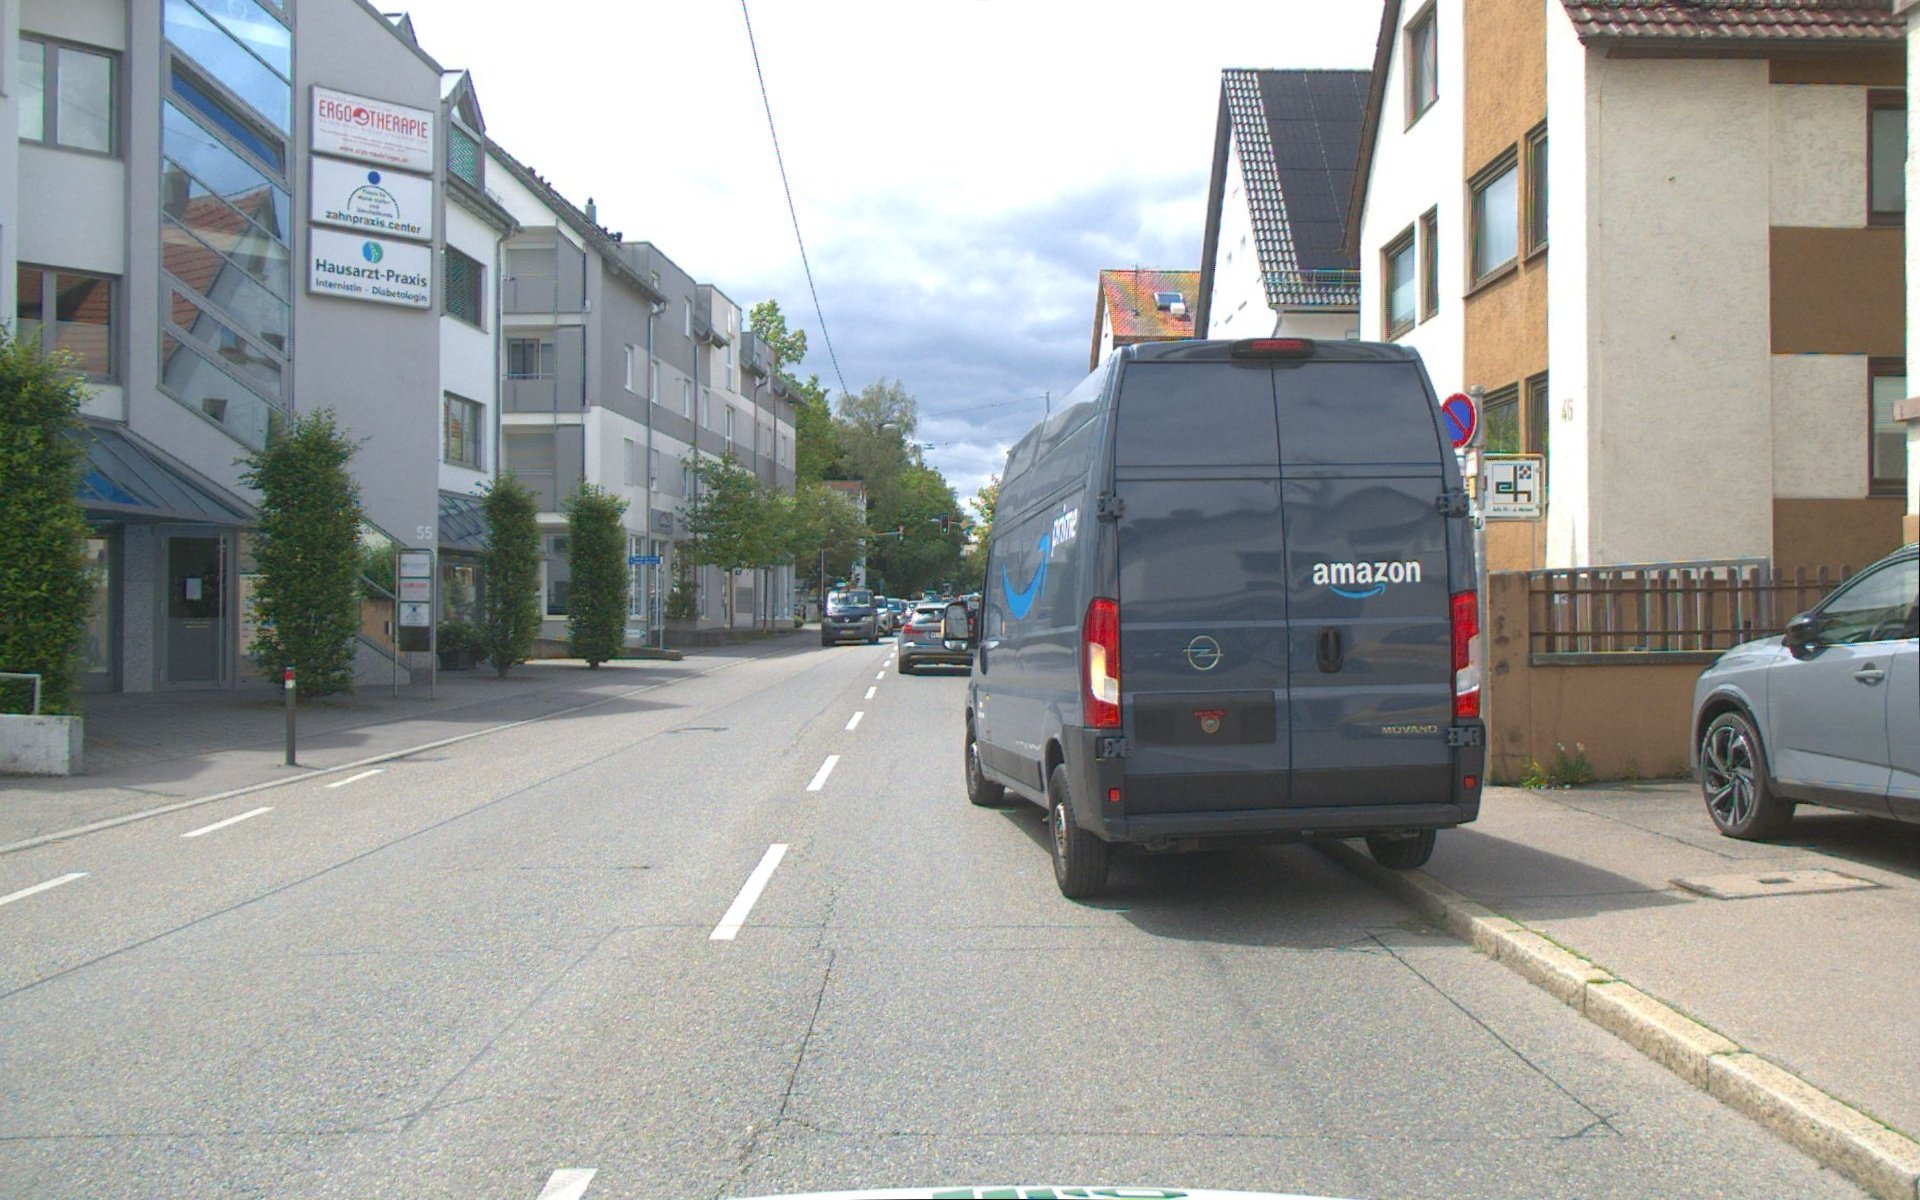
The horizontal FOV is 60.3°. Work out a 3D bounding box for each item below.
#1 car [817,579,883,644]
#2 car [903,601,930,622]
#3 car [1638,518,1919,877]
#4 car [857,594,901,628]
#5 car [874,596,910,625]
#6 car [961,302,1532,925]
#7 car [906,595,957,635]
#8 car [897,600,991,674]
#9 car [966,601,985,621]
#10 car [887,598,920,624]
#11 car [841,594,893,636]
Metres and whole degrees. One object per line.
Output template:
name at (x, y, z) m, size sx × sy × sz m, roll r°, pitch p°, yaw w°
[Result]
car at (-3.850, 0.390, 58.671) m, size 2.063 × 2.158 × 4.764 m, roll -2°, pitch 0°, yaw -2°
car at (-3.473, 0.920, 131.690) m, size 2.063 × 1.624 × 4.648 m, roll 0°, pitch 0°, yaw -2°
car at (5.258, 0.420, 8.143) m, size 1.823 × 1.640 × 4.584 m, roll -2°, pitch 0°, yaw -2°
car at (-3.976, 0.506, 81.742) m, size 2.063 × 1.624 × 4.648 m, roll 0°, pitch 0°, yaw -2°
car at (-3.969, 0.592, 97.505) m, size 2.063 × 1.624 × 4.648 m, roll 0°, pitch 0°, yaw -2°
car at (1.344, 0.054, 10.424) m, size 2.208 × 2.844 × 5.563 m, roll 0°, pitch 0°, yaw -5°
car at (-1.090, 0.563, 64.798) m, size 1.857 × 1.472 × 3.969 m, roll -1°, pitch 0°, yaw 1°
car at (-0.296, 0.749, 35.547) m, size 1.857 × 1.479 × 3.969 m, roll 0°, pitch 0°, yaw 2°
car at (1.581, 1.116, 173.189) m, size 1.952 × 2.049 × 4.000 m, roll 0°, pitch 0°, yaw 1°
car at (-3.638, 0.692, 107.069) m, size 2.063 × 1.624 × 4.648 m, roll 0°, pitch 0°, yaw -2°
car at (-3.937, 0.618, 70.766) m, size 2.063 × 1.739 × 4.764 m, roll 0°, pitch 0°, yaw -2°
